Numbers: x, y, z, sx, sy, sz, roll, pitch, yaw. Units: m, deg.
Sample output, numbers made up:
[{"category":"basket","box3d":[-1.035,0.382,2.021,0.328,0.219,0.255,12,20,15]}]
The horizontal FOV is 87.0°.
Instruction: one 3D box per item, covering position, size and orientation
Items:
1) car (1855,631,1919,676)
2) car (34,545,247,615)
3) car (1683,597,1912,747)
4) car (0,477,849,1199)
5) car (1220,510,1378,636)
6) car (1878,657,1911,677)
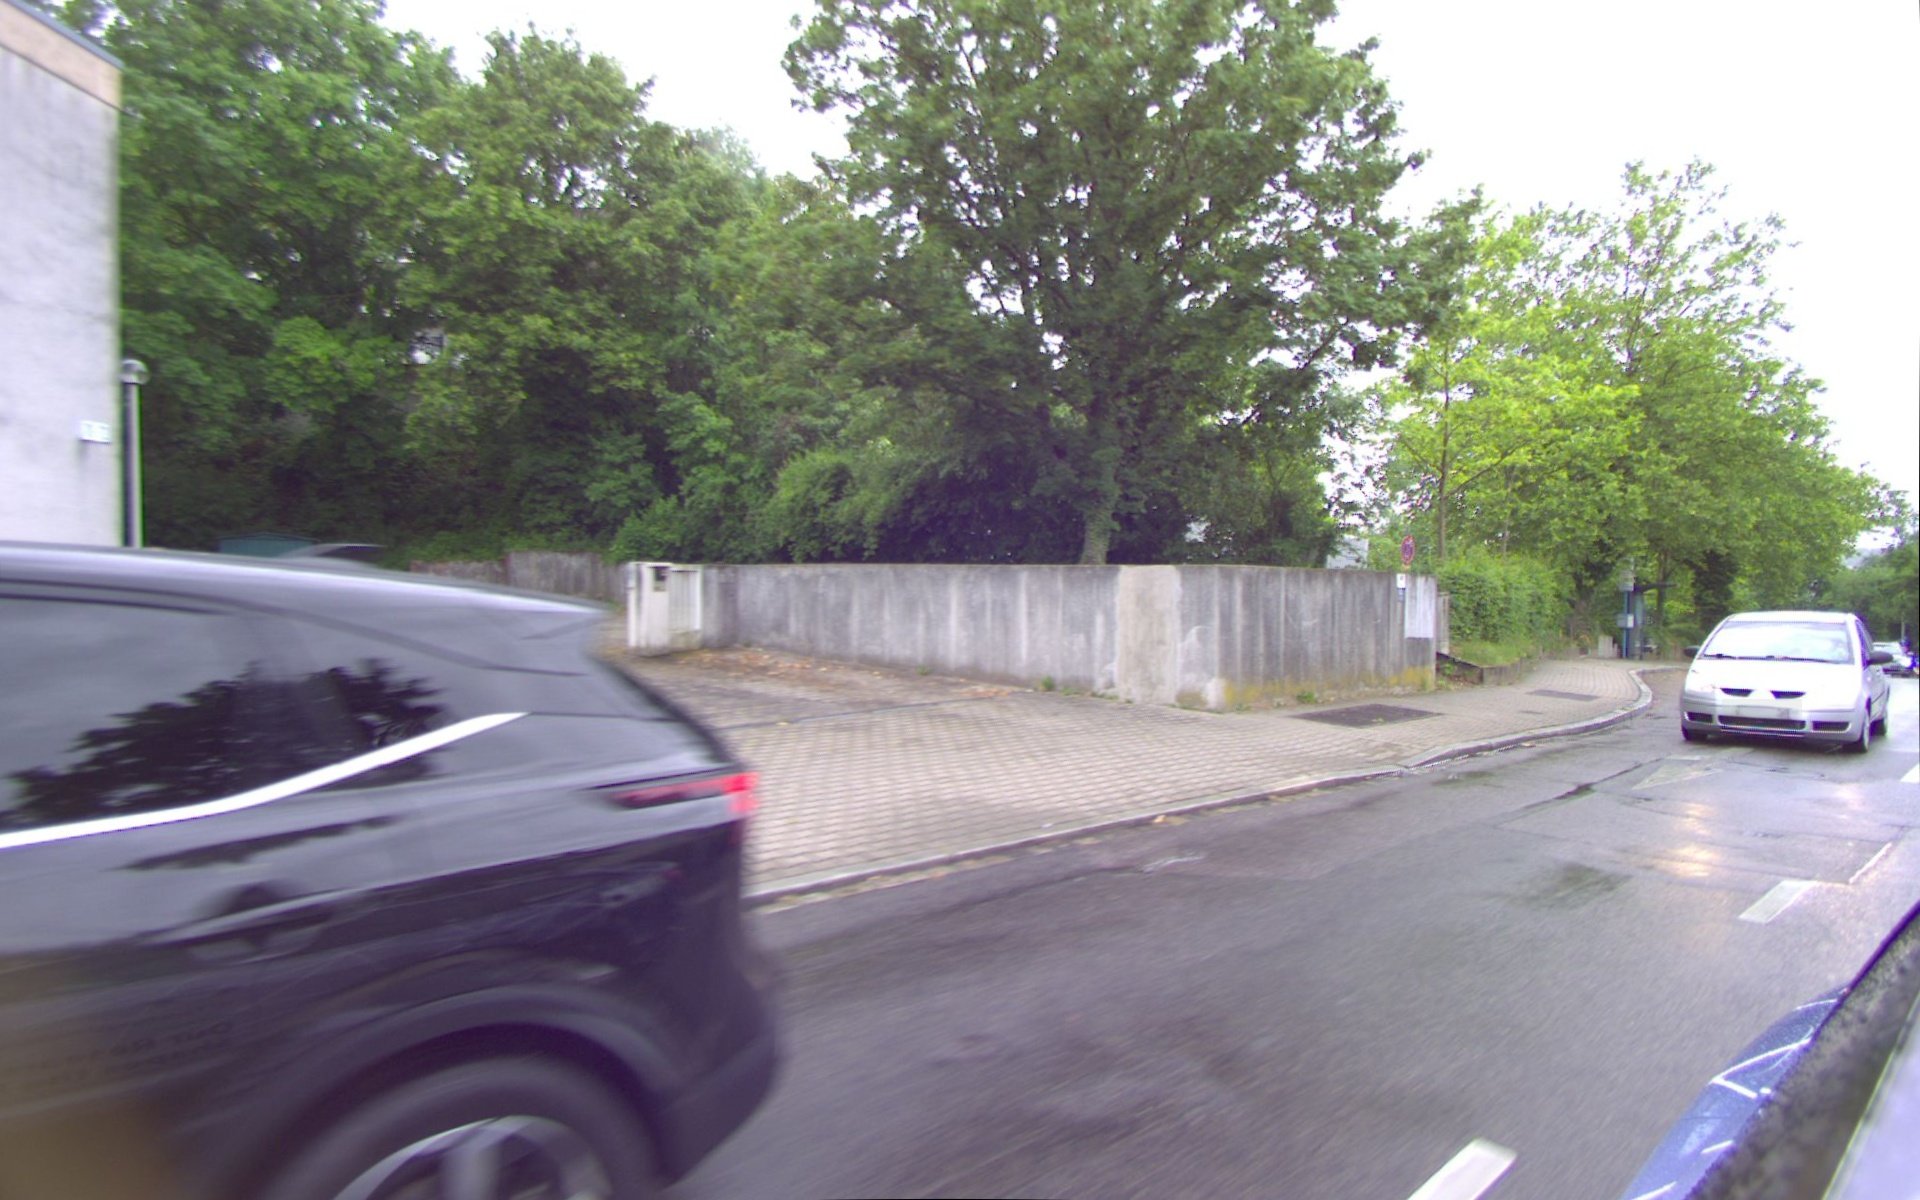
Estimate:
[{"category":"car","box3d":[38.471,2.207,41.691,3.931,1.723,2.032,5,-5,-43]},{"category":"car","box3d":[-17.591,-0.445,21.823,3.377,1.393,1.483,1,2,-1]},{"category":"car","box3d":[10.280,0.808,12.325,3.932,1.524,1.637,2,-3,-43]},{"category":"car","box3d":[-2.404,0.644,1.506,4.178,1.624,1.793,0,0,-40]},{"category":"car","box3d":[7.288,-0.464,21.504,1.988,2.255,4.077,1,-3,36]},{"category":"car","box3d":[75.148,5.370,81.409,1.683,1.472,3.348,1,-2,39]}]
